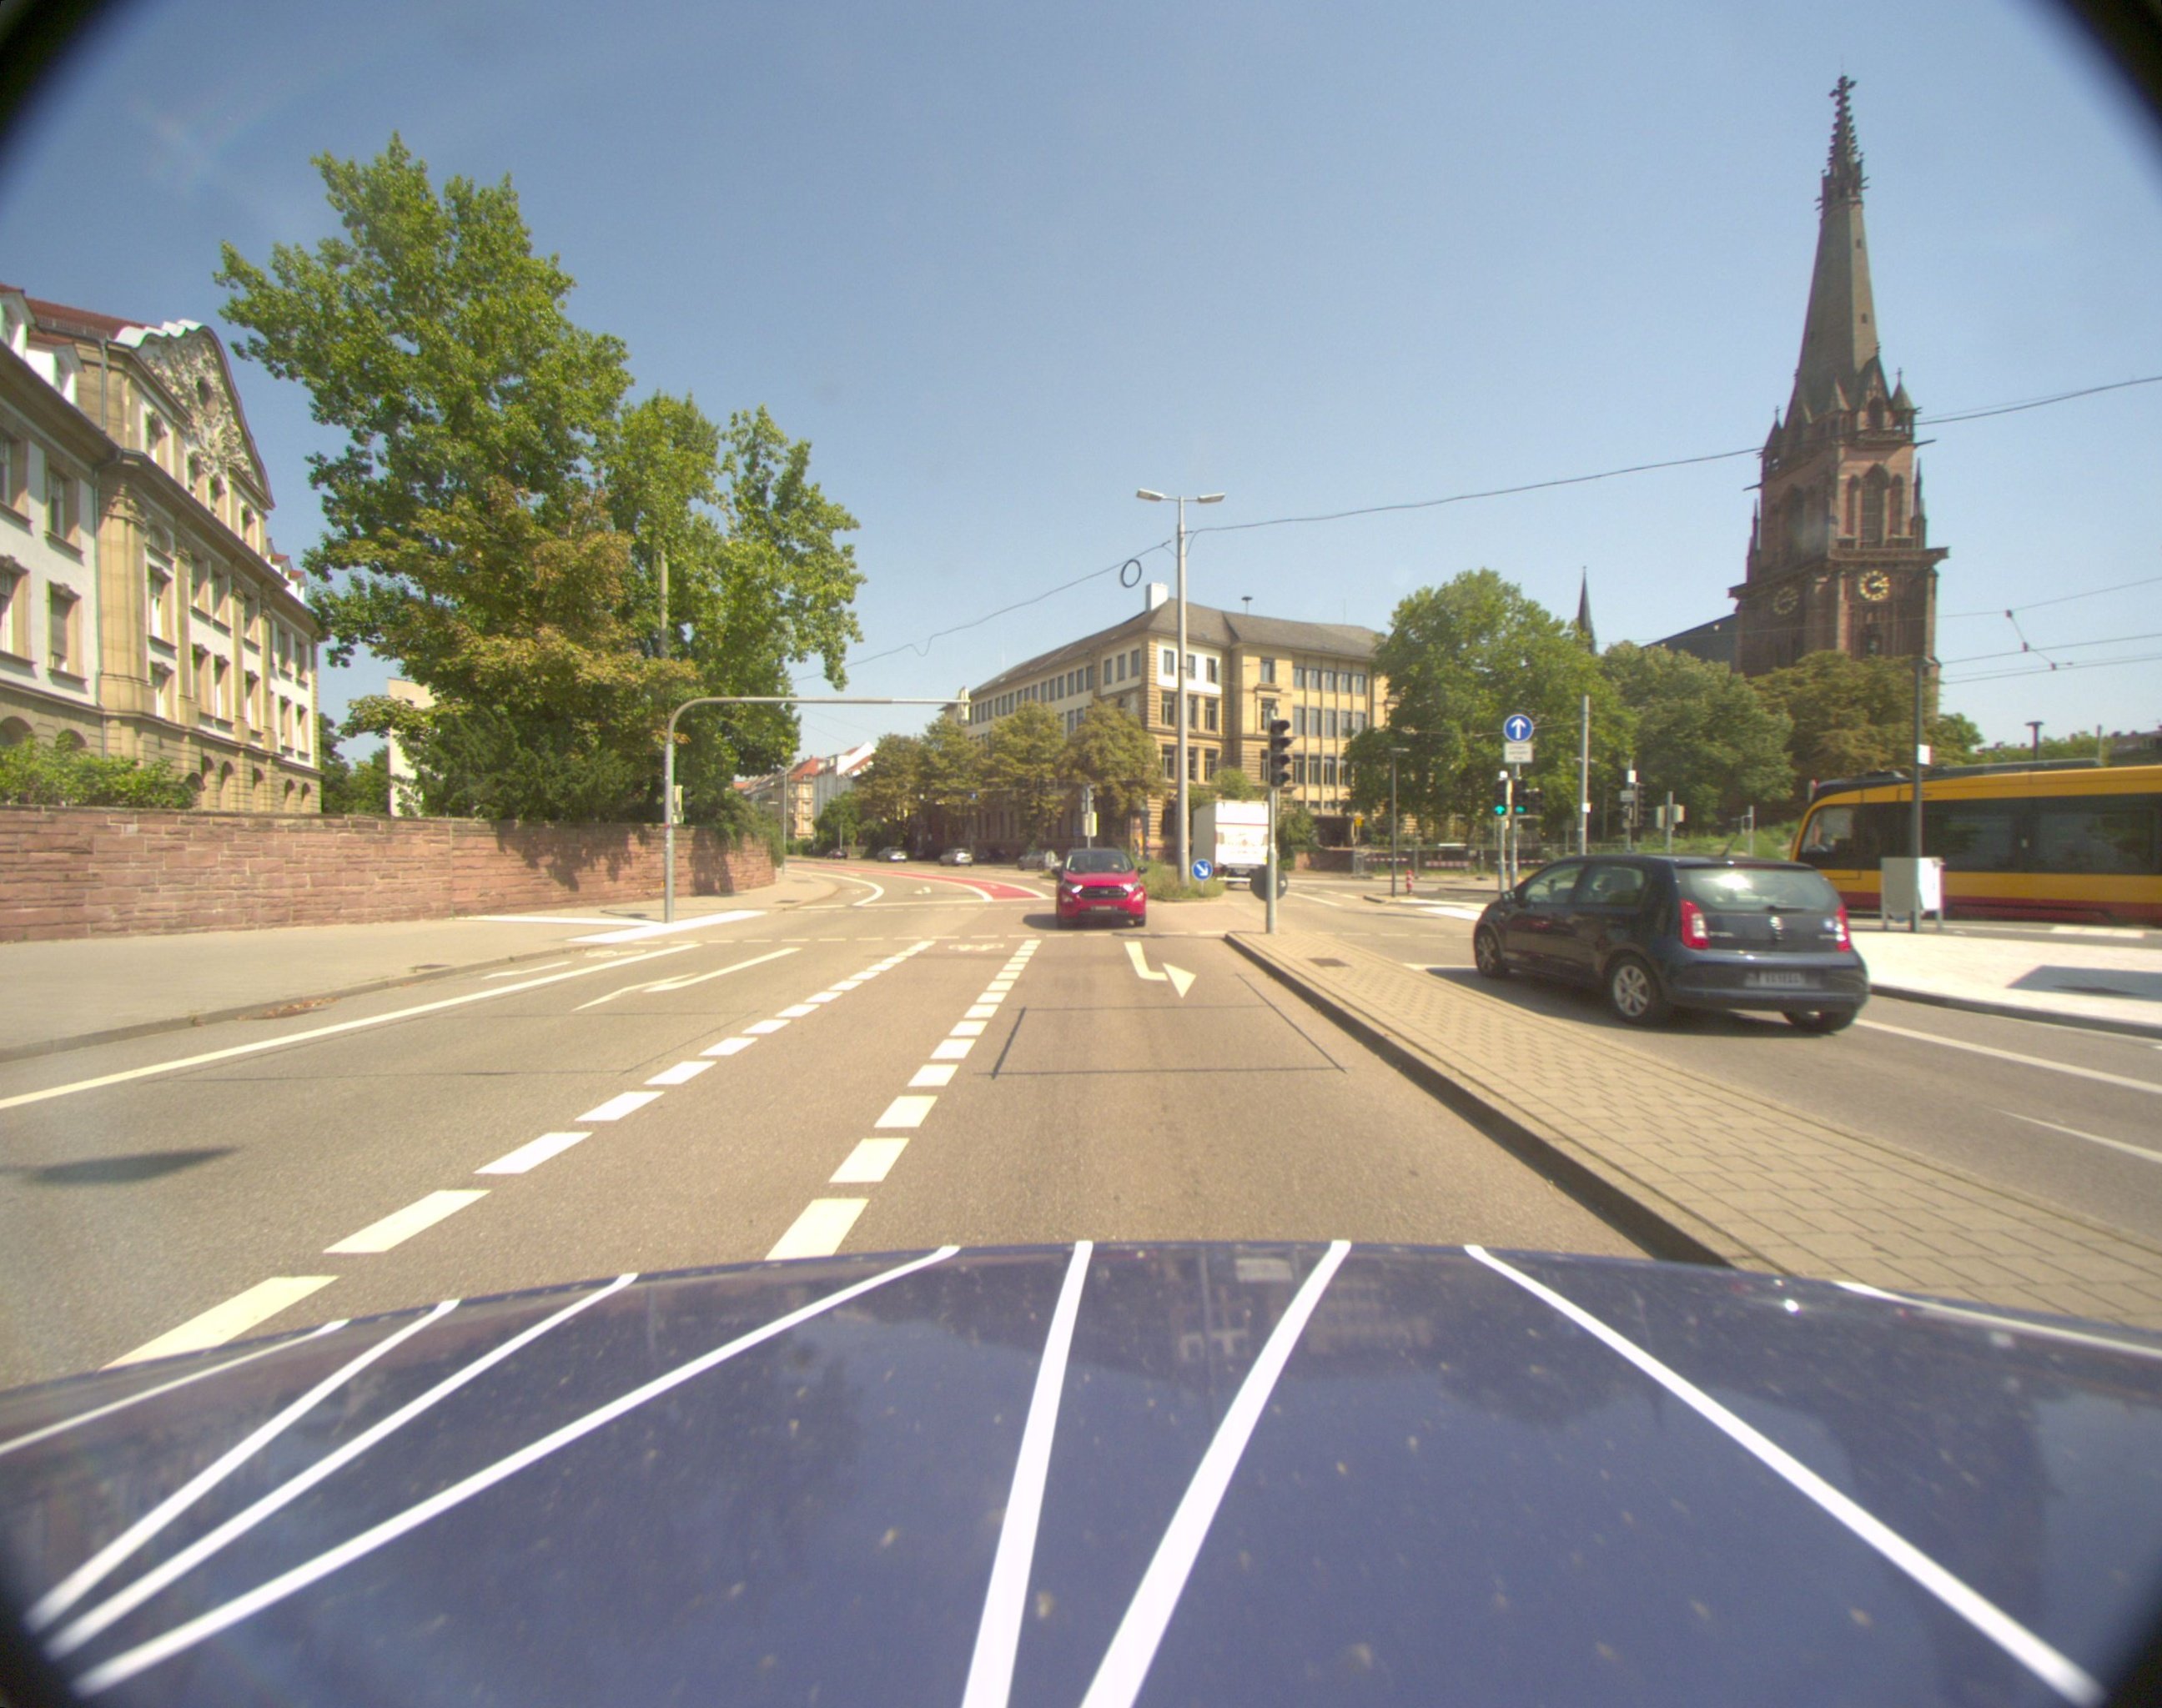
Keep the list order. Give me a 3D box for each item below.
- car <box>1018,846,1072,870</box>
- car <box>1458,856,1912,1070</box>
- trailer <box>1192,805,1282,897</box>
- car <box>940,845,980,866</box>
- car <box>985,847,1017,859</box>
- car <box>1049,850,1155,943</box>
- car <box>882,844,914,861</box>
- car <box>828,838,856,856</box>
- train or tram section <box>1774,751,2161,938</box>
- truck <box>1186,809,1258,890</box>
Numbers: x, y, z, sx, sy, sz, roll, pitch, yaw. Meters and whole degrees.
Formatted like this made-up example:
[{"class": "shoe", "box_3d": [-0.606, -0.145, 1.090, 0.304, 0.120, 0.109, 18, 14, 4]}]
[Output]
[{"class": "car", "box_3d": [-2.513, 0.233, 52.027, 1.891, 1.587, 3.989, 0, 1, -33]}, {"class": "car", "box_3d": [5.338, 0.810, 7.399, 1.584, 1.489, 3.586, 2, 1, 2]}, {"class": "trailer", "box_3d": [5.931, -0.149, 29.680, 2.440, 3.269, 5.087, 0, 1, 0]}, {"class": "car", "box_3d": [-10.319, 0.116, 64.520, 2.003, 1.660, 3.989, 0, 1, -32]}, {"class": "car", "box_3d": [-8.221, -0.123, 78.520, 3.064, 1.169, 1.248, 0, 1, -38]}, {"class": "car", "box_3d": [0.418, 0.739, 15.410, 1.844, 1.605, 4.000, 1, 1, 1]}, {"class": "car", "box_3d": [-18.766, -0.164, 77.972, 2.004, 1.630, 3.989, 0, 1, -32]}, {"class": "car", "box_3d": [-29.598, -0.822, 94.002, 2.309, 2.148, 4.218, 0, 1, -32]}, {"class": "train or tram section", "box_3d": [21.023, -0.159, 16.483, 3.144, 3.539, 8.306, 1, 0, -34]}, {"class": "truck", "box_3d": [5.917, -0.195, 32.353, 2.428, 3.269, 3.426, 0, 1, 0]}]
